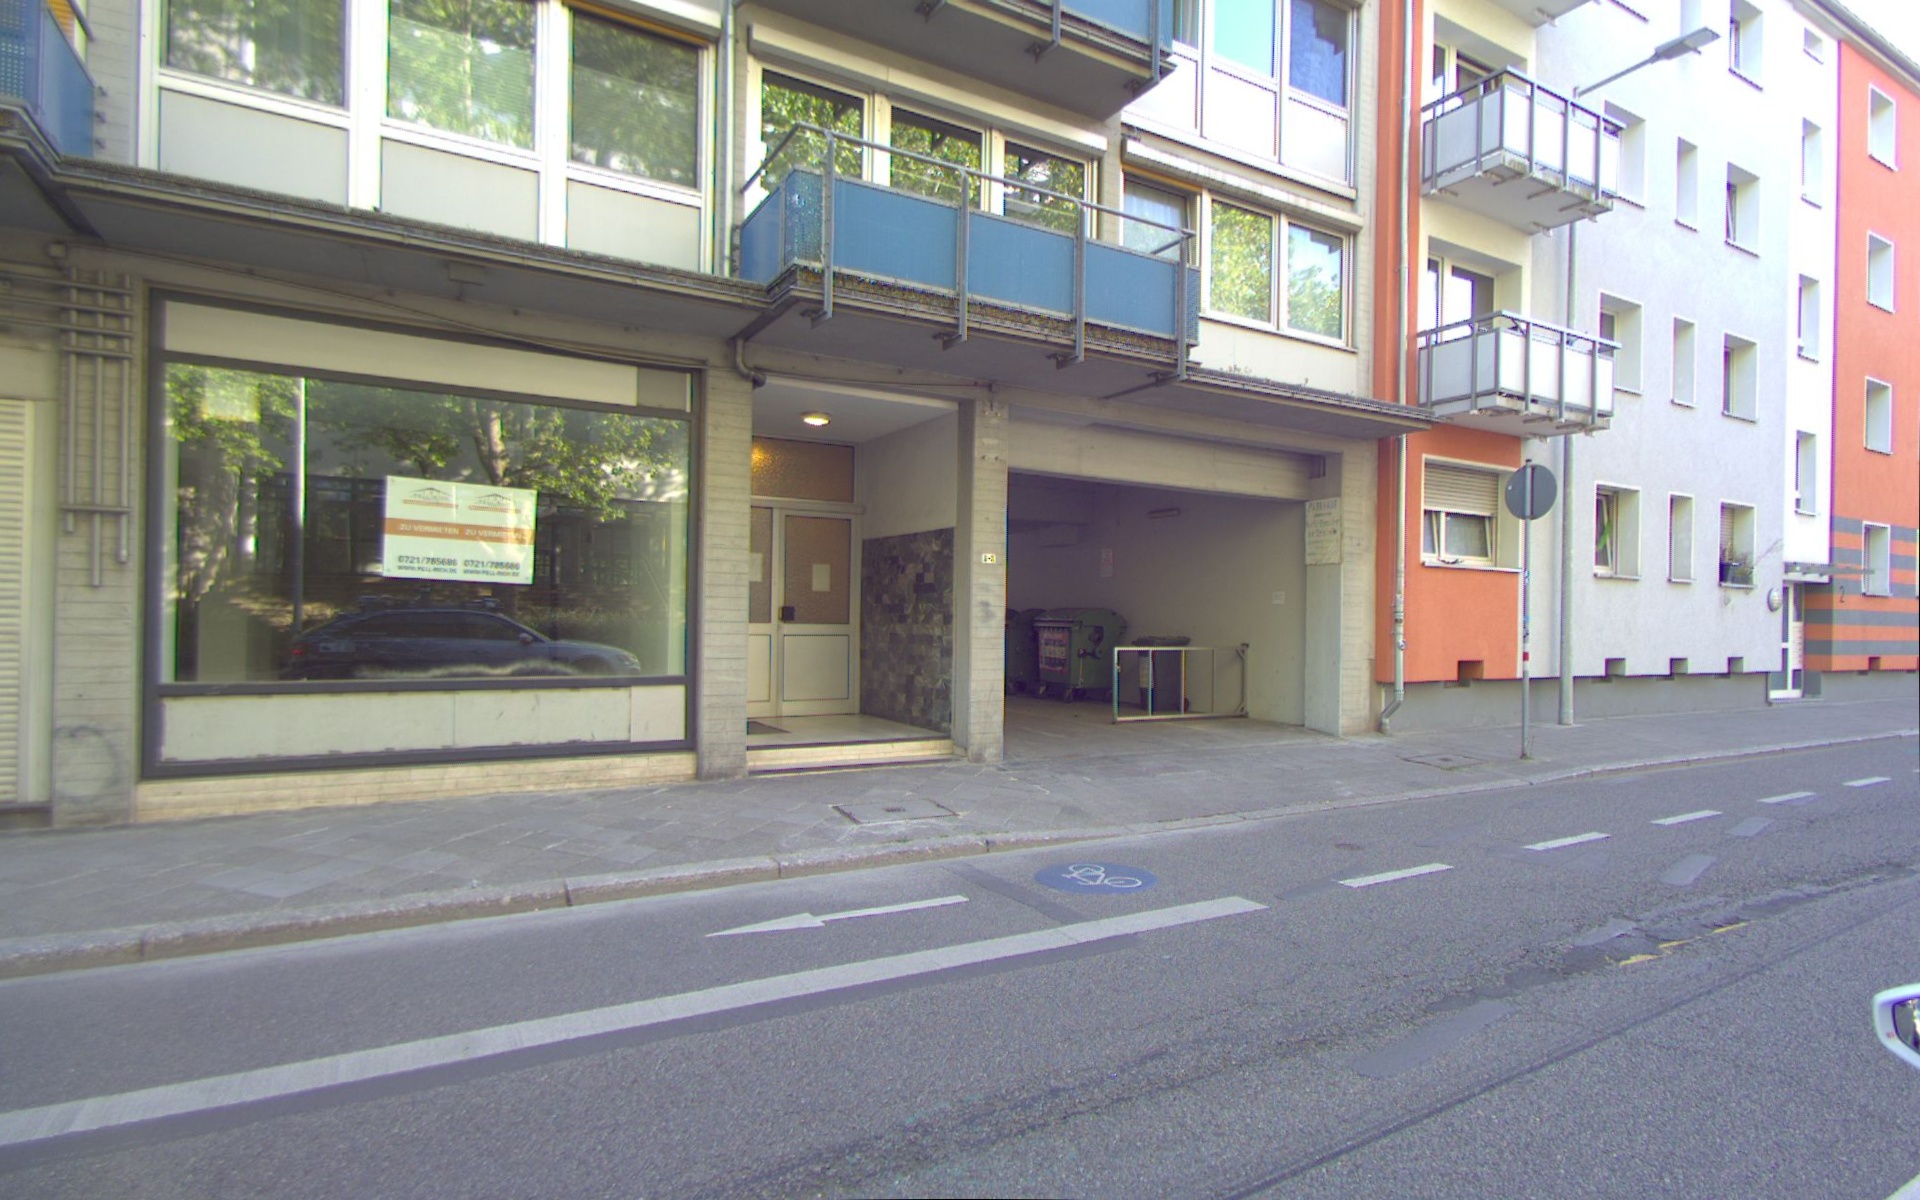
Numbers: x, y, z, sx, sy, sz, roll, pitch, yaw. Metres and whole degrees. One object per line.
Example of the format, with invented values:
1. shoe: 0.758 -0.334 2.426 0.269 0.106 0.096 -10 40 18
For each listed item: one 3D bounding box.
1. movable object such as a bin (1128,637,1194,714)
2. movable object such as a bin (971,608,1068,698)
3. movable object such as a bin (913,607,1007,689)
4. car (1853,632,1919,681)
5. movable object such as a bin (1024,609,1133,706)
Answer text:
1. movable object such as a bin: 2.906 1.085 14.546 0.695 1.055 0.593 2 0 -30
2. movable object such as a bin: 1.005 0.879 17.188 1.119 1.449 1.322 1 0 -28
3. movable object such as a bin: -0.022 0.877 18.891 1.119 1.449 1.666 1 -1 -28
4. car: 30.117 1.740 30.745 1.809 1.500 3.871 2 -2 -34
5. movable object such as a bin: 1.857 0.873 15.865 1.128 1.449 1.342 1 0 -28
